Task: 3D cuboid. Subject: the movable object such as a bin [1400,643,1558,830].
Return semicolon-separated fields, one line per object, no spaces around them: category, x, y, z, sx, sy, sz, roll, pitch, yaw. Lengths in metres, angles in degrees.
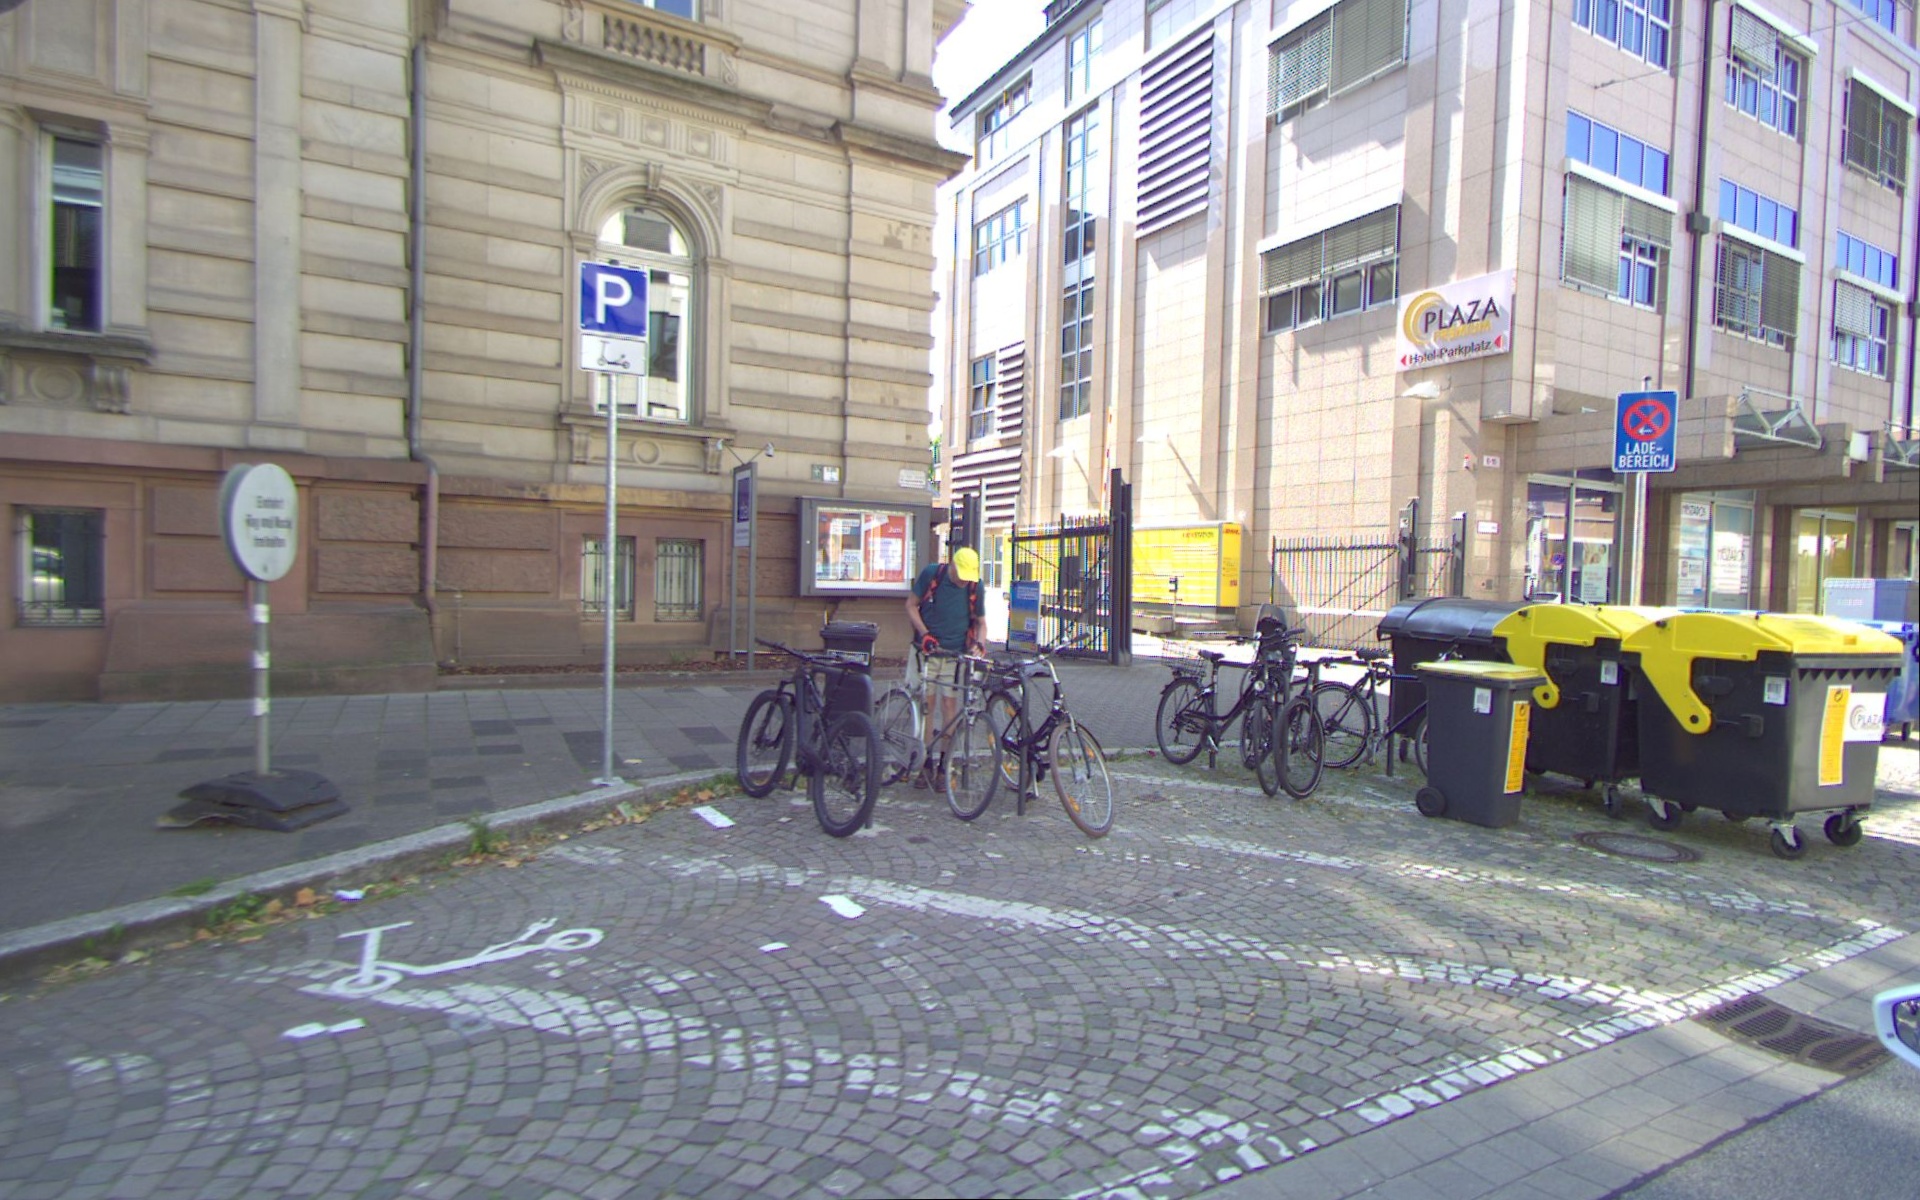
movable object such as a bin;3.558;0.896;6.908;0.650;1.113;0.717;-1;4;-36

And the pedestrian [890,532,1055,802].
pedestrian;0.073;0.423;7.060;0.741;1.748;0.883;1;2;-35

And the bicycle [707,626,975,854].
bicycle;-0.812;0.763;6.235;0.665;1.031;1.946;1;3;-40

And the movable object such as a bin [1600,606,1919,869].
movable object such as a bin;5.283;0.809;6.645;1.418;1.470;1.121;0;3;-23

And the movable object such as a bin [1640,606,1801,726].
movable object such as a bin;9.494;0.781;12.568;1.113;1.317;1.203;-1;4;-29

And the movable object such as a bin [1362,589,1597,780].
movable object such as a bin;4.513;0.668;8.803;1.344;1.470;1.206;0;3;-23

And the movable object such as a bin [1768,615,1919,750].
movable object such as a bin;10.114;0.878;11.324;1.066;1.317;1.203;-1;4;-29

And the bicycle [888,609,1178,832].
bicycle;0.396;0.715;6.866;0.552;1.135;2.217;1;3;-39

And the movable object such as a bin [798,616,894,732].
movable object such as a bin;-0.952;0.595;8.352;0.506;0.888;0.650;2;1;-36

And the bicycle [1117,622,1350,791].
bicycle;2.079;0.770;7.903;0.550;1.087;1.833;3;0;-32

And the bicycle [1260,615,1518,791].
bicycle;3.435;0.769;8.260;0.503;1.135;1.956;2;3;-32

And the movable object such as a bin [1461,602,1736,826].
movable object such as a bin;4.847;0.787;7.684;1.418;1.470;1.121;0;3;-23

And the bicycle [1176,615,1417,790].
bicycle;2.705;0.774;8.322;0.503;1.135;1.963;2;3;-32

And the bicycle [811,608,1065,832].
bicycle;-0.220;0.697;6.643;0.552;1.135;1.943;1;3;-39
